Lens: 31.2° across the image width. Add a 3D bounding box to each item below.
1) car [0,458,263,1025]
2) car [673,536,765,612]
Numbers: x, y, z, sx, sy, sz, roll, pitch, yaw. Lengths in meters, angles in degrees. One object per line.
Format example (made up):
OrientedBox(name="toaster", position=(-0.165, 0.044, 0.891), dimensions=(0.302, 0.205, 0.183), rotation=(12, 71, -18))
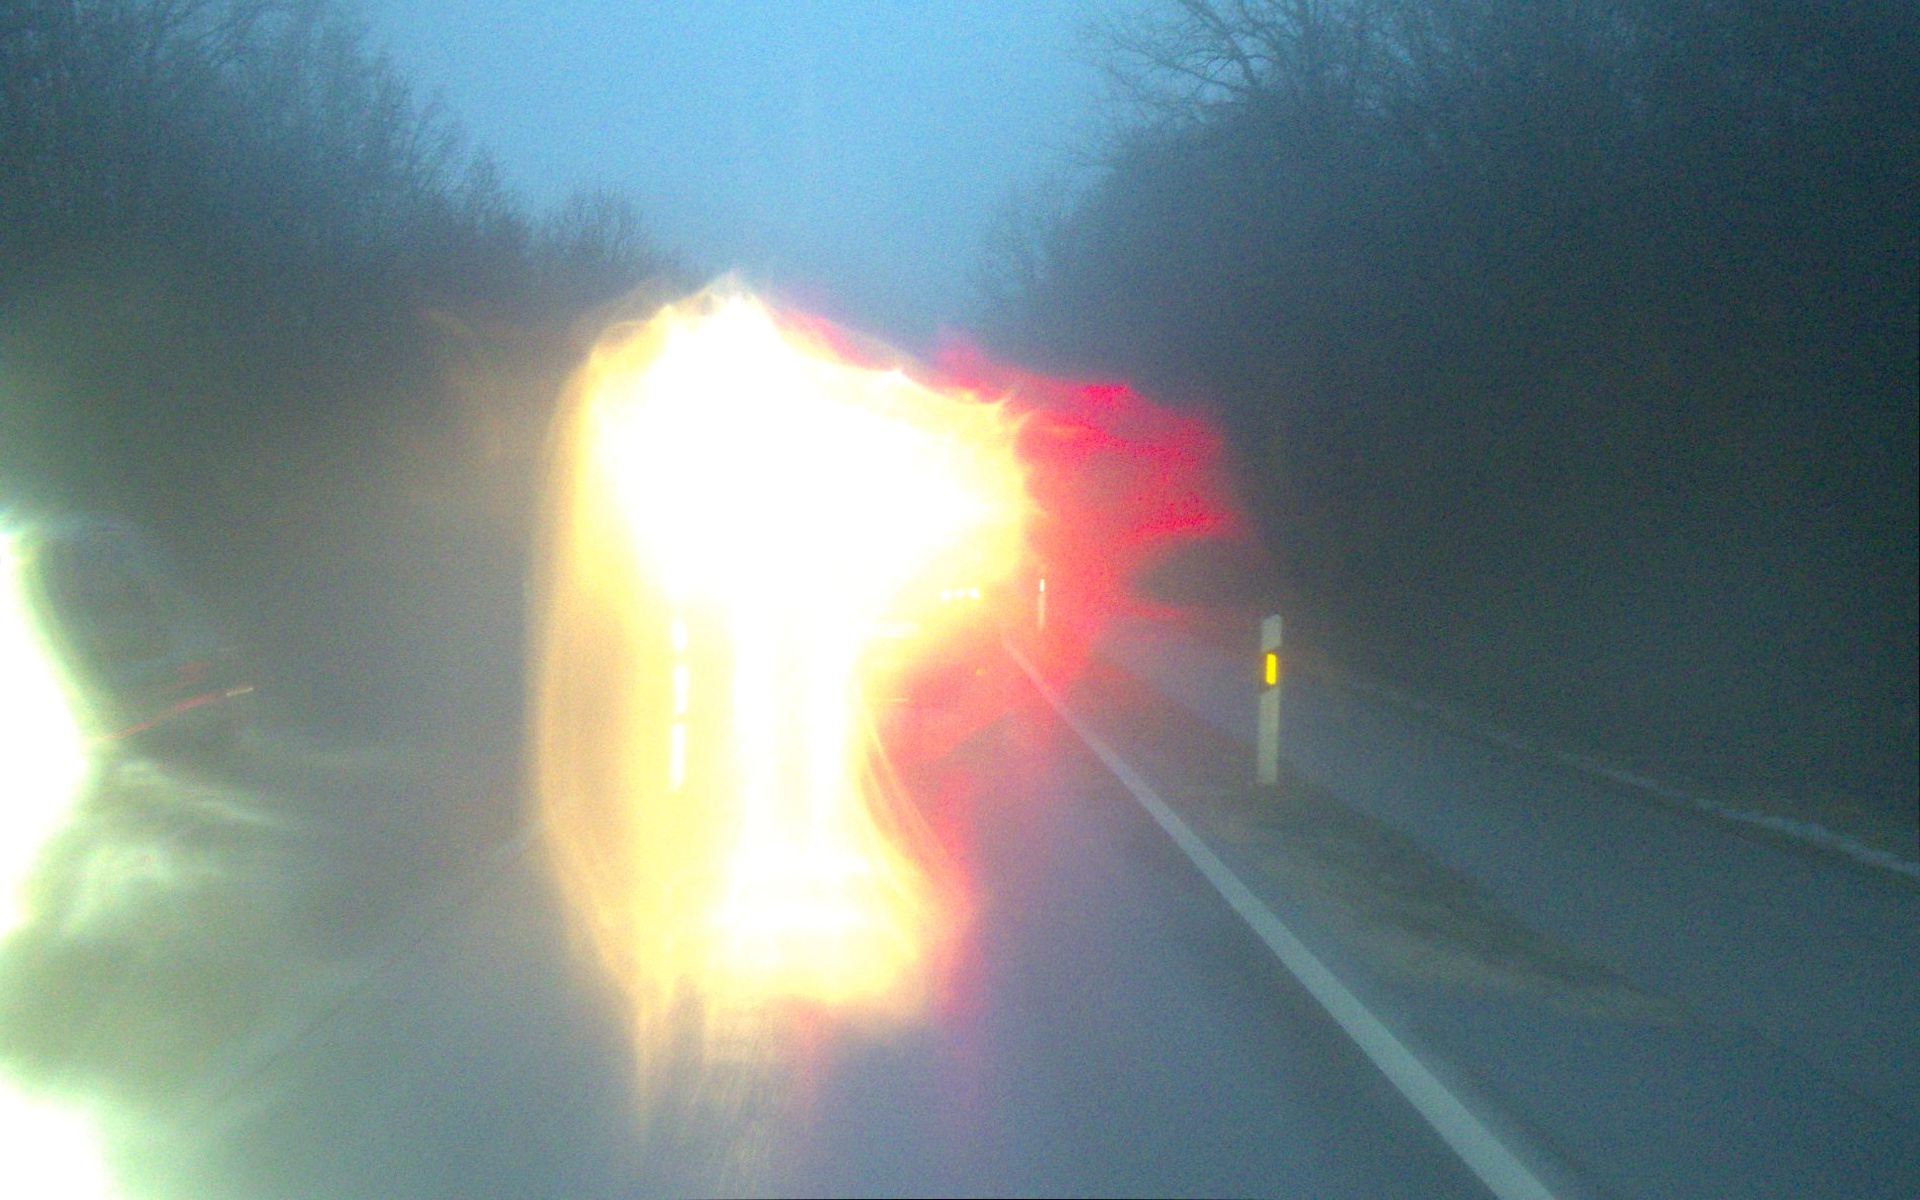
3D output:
OrientedBox(name="car", position=(-3.950, 0.452, 13.128), dimensions=(1.706, 1.816, 4.286), rotation=(-2, 1, -1))
OrientedBox(name="car", position=(-4.678, -0.536, 67.063), dimensions=(1.618, 1.384, 4.072), rotation=(-1, 1, -2))
